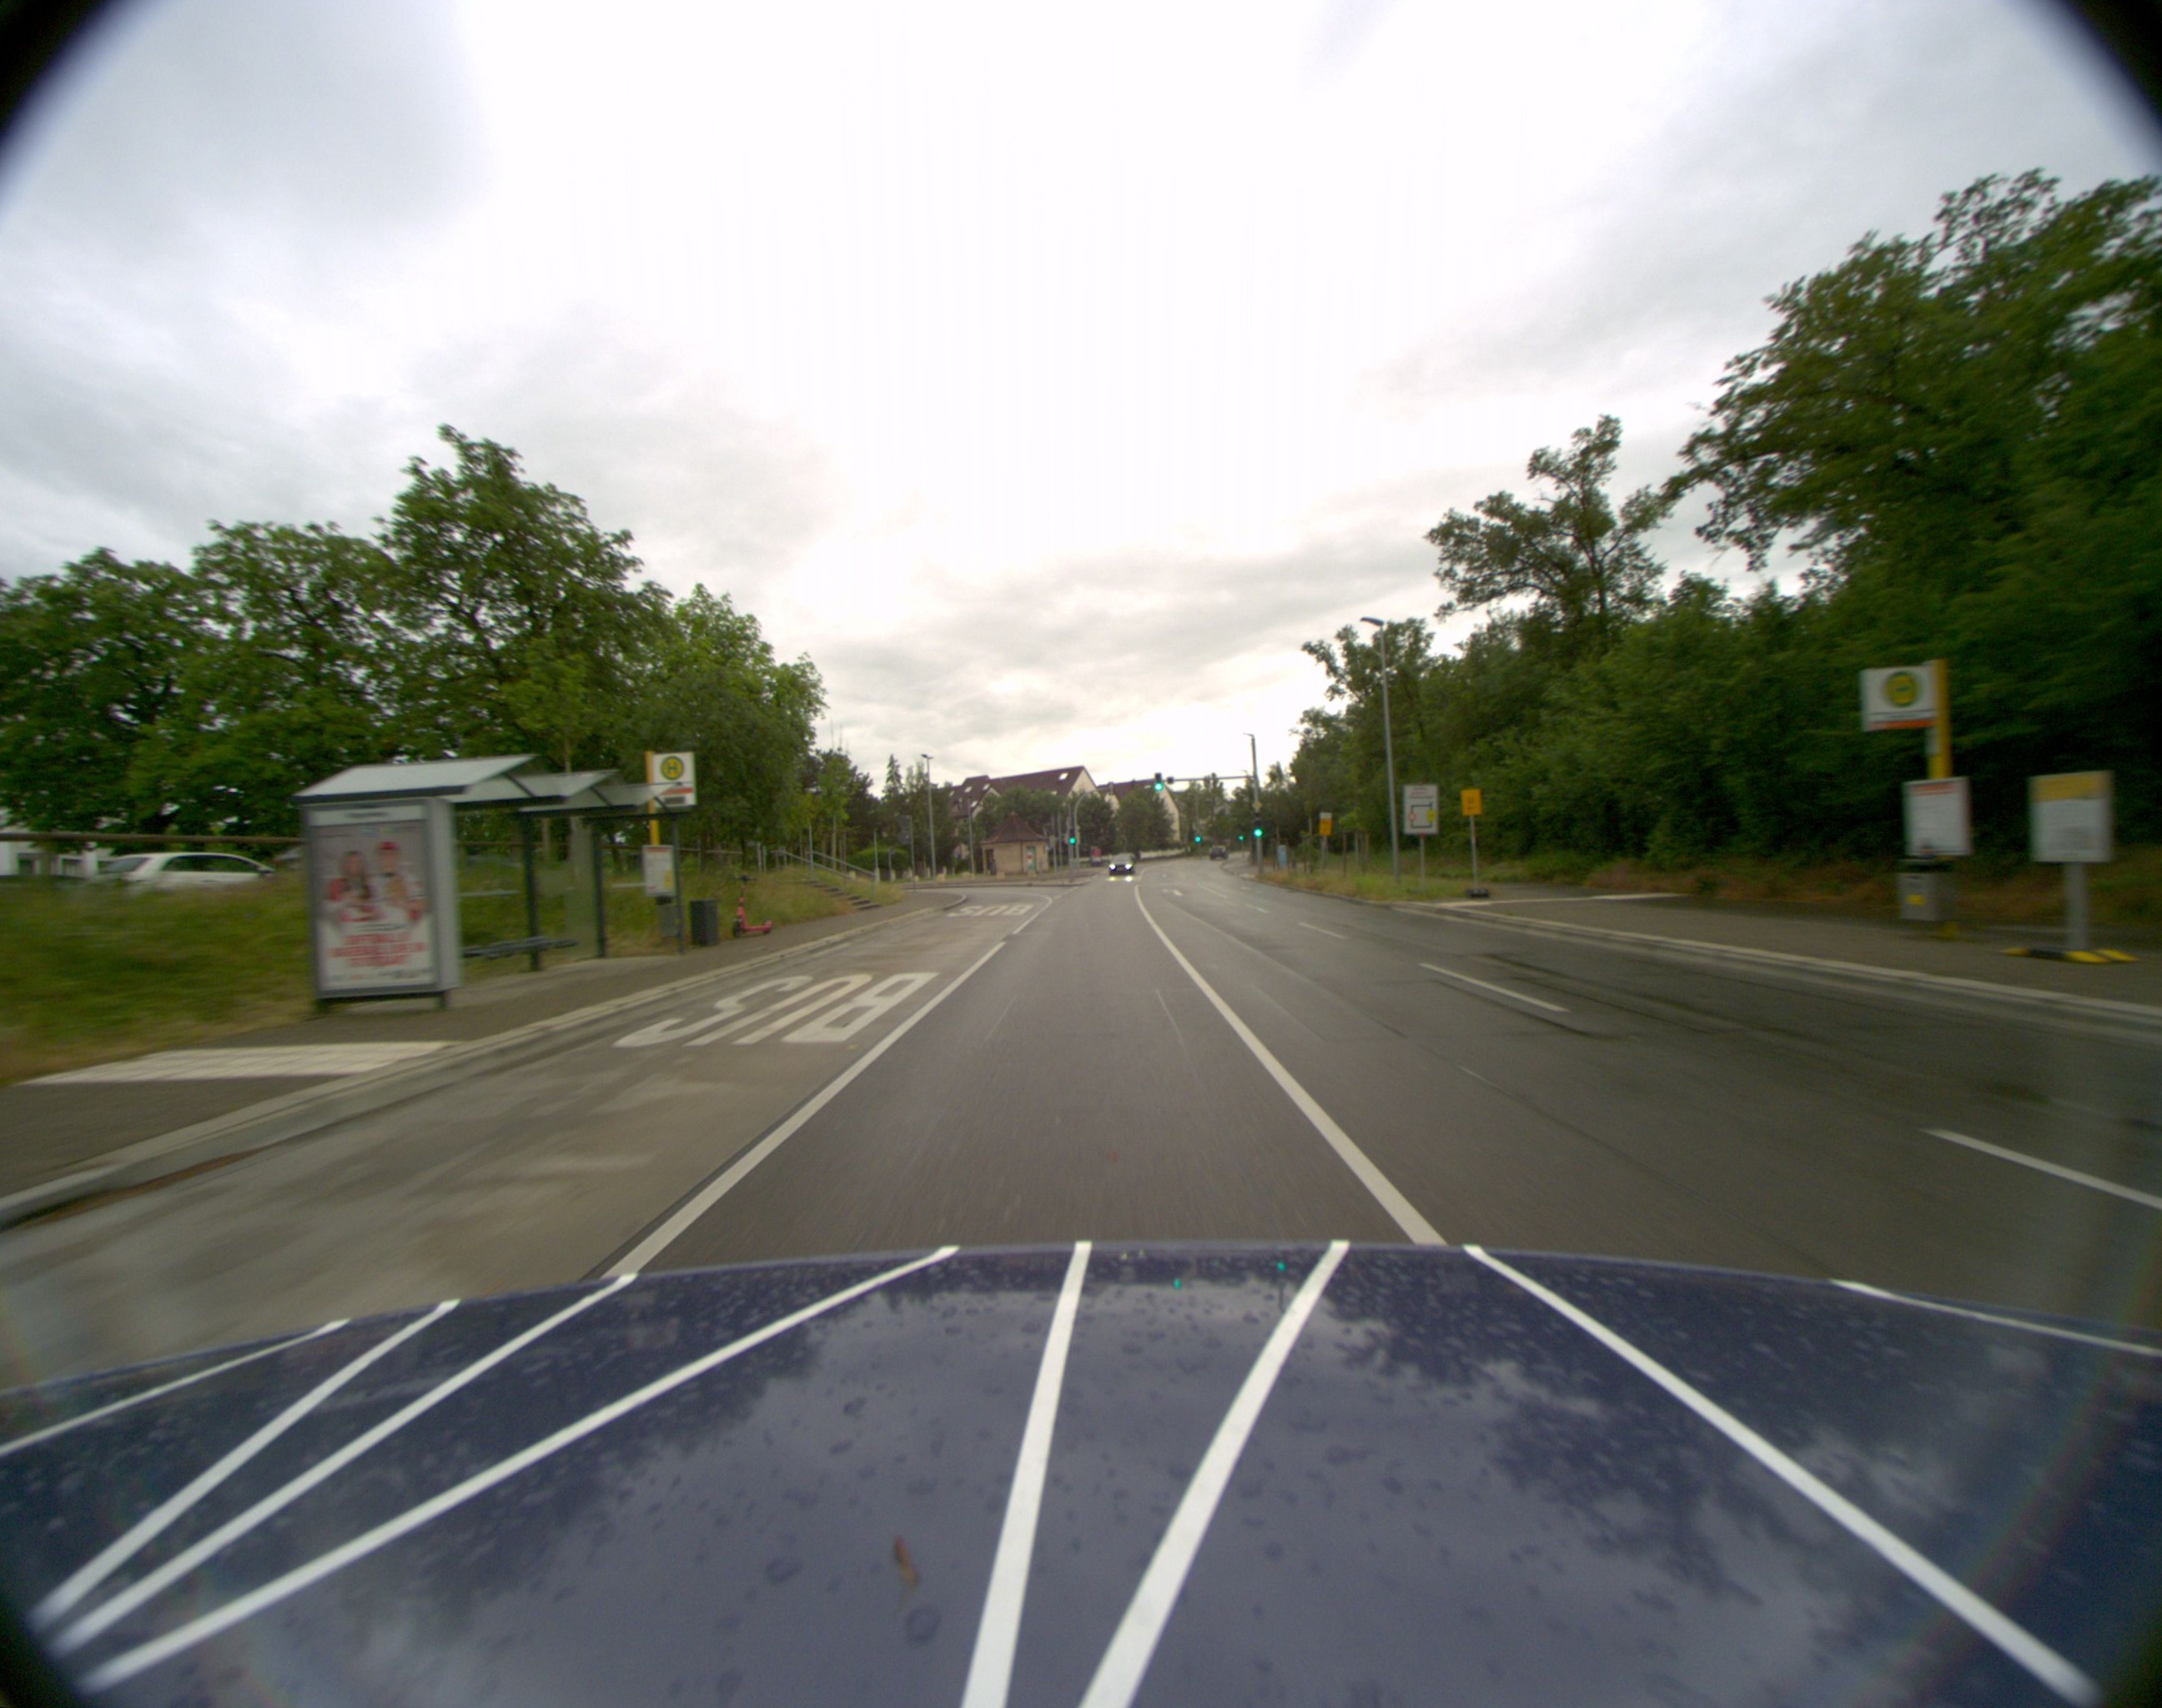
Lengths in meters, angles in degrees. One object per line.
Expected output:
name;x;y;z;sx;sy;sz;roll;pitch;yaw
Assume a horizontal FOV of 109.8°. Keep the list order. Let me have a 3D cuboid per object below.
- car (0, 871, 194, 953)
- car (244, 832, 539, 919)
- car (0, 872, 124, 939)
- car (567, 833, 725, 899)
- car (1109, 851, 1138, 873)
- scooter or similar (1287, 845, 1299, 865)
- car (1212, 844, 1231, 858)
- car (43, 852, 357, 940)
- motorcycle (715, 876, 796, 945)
car;-24.127;1.374;17.669;1.997;1.652;4.002;-6;0;8
car;-14.441;0.362;16.344;1.997;1.471;4.286;-5;1;8
car;-26.776;1.355;18.360;1.890;1.471;4.068;-6;1;2
car;-13.041;0.330;23.118;1.997;1.652;4.002;-6;0;8
car;3.198;0.583;58.045;1.945;1.446;4.603;-2;1;0
scooter or similar;13.666;0.074;48.999;0.518;1.205;1.470;-3;1;11
car;16.845;-0.368;90.881;1.791;1.572;4.566;-2;1;16
car;-19.201;0.826;16.902;1.889;1.471;4.070;-5;1;9
motorcycle;-6.631;1.130;15.556;0.589;1.281;1.539;-2;1;17
